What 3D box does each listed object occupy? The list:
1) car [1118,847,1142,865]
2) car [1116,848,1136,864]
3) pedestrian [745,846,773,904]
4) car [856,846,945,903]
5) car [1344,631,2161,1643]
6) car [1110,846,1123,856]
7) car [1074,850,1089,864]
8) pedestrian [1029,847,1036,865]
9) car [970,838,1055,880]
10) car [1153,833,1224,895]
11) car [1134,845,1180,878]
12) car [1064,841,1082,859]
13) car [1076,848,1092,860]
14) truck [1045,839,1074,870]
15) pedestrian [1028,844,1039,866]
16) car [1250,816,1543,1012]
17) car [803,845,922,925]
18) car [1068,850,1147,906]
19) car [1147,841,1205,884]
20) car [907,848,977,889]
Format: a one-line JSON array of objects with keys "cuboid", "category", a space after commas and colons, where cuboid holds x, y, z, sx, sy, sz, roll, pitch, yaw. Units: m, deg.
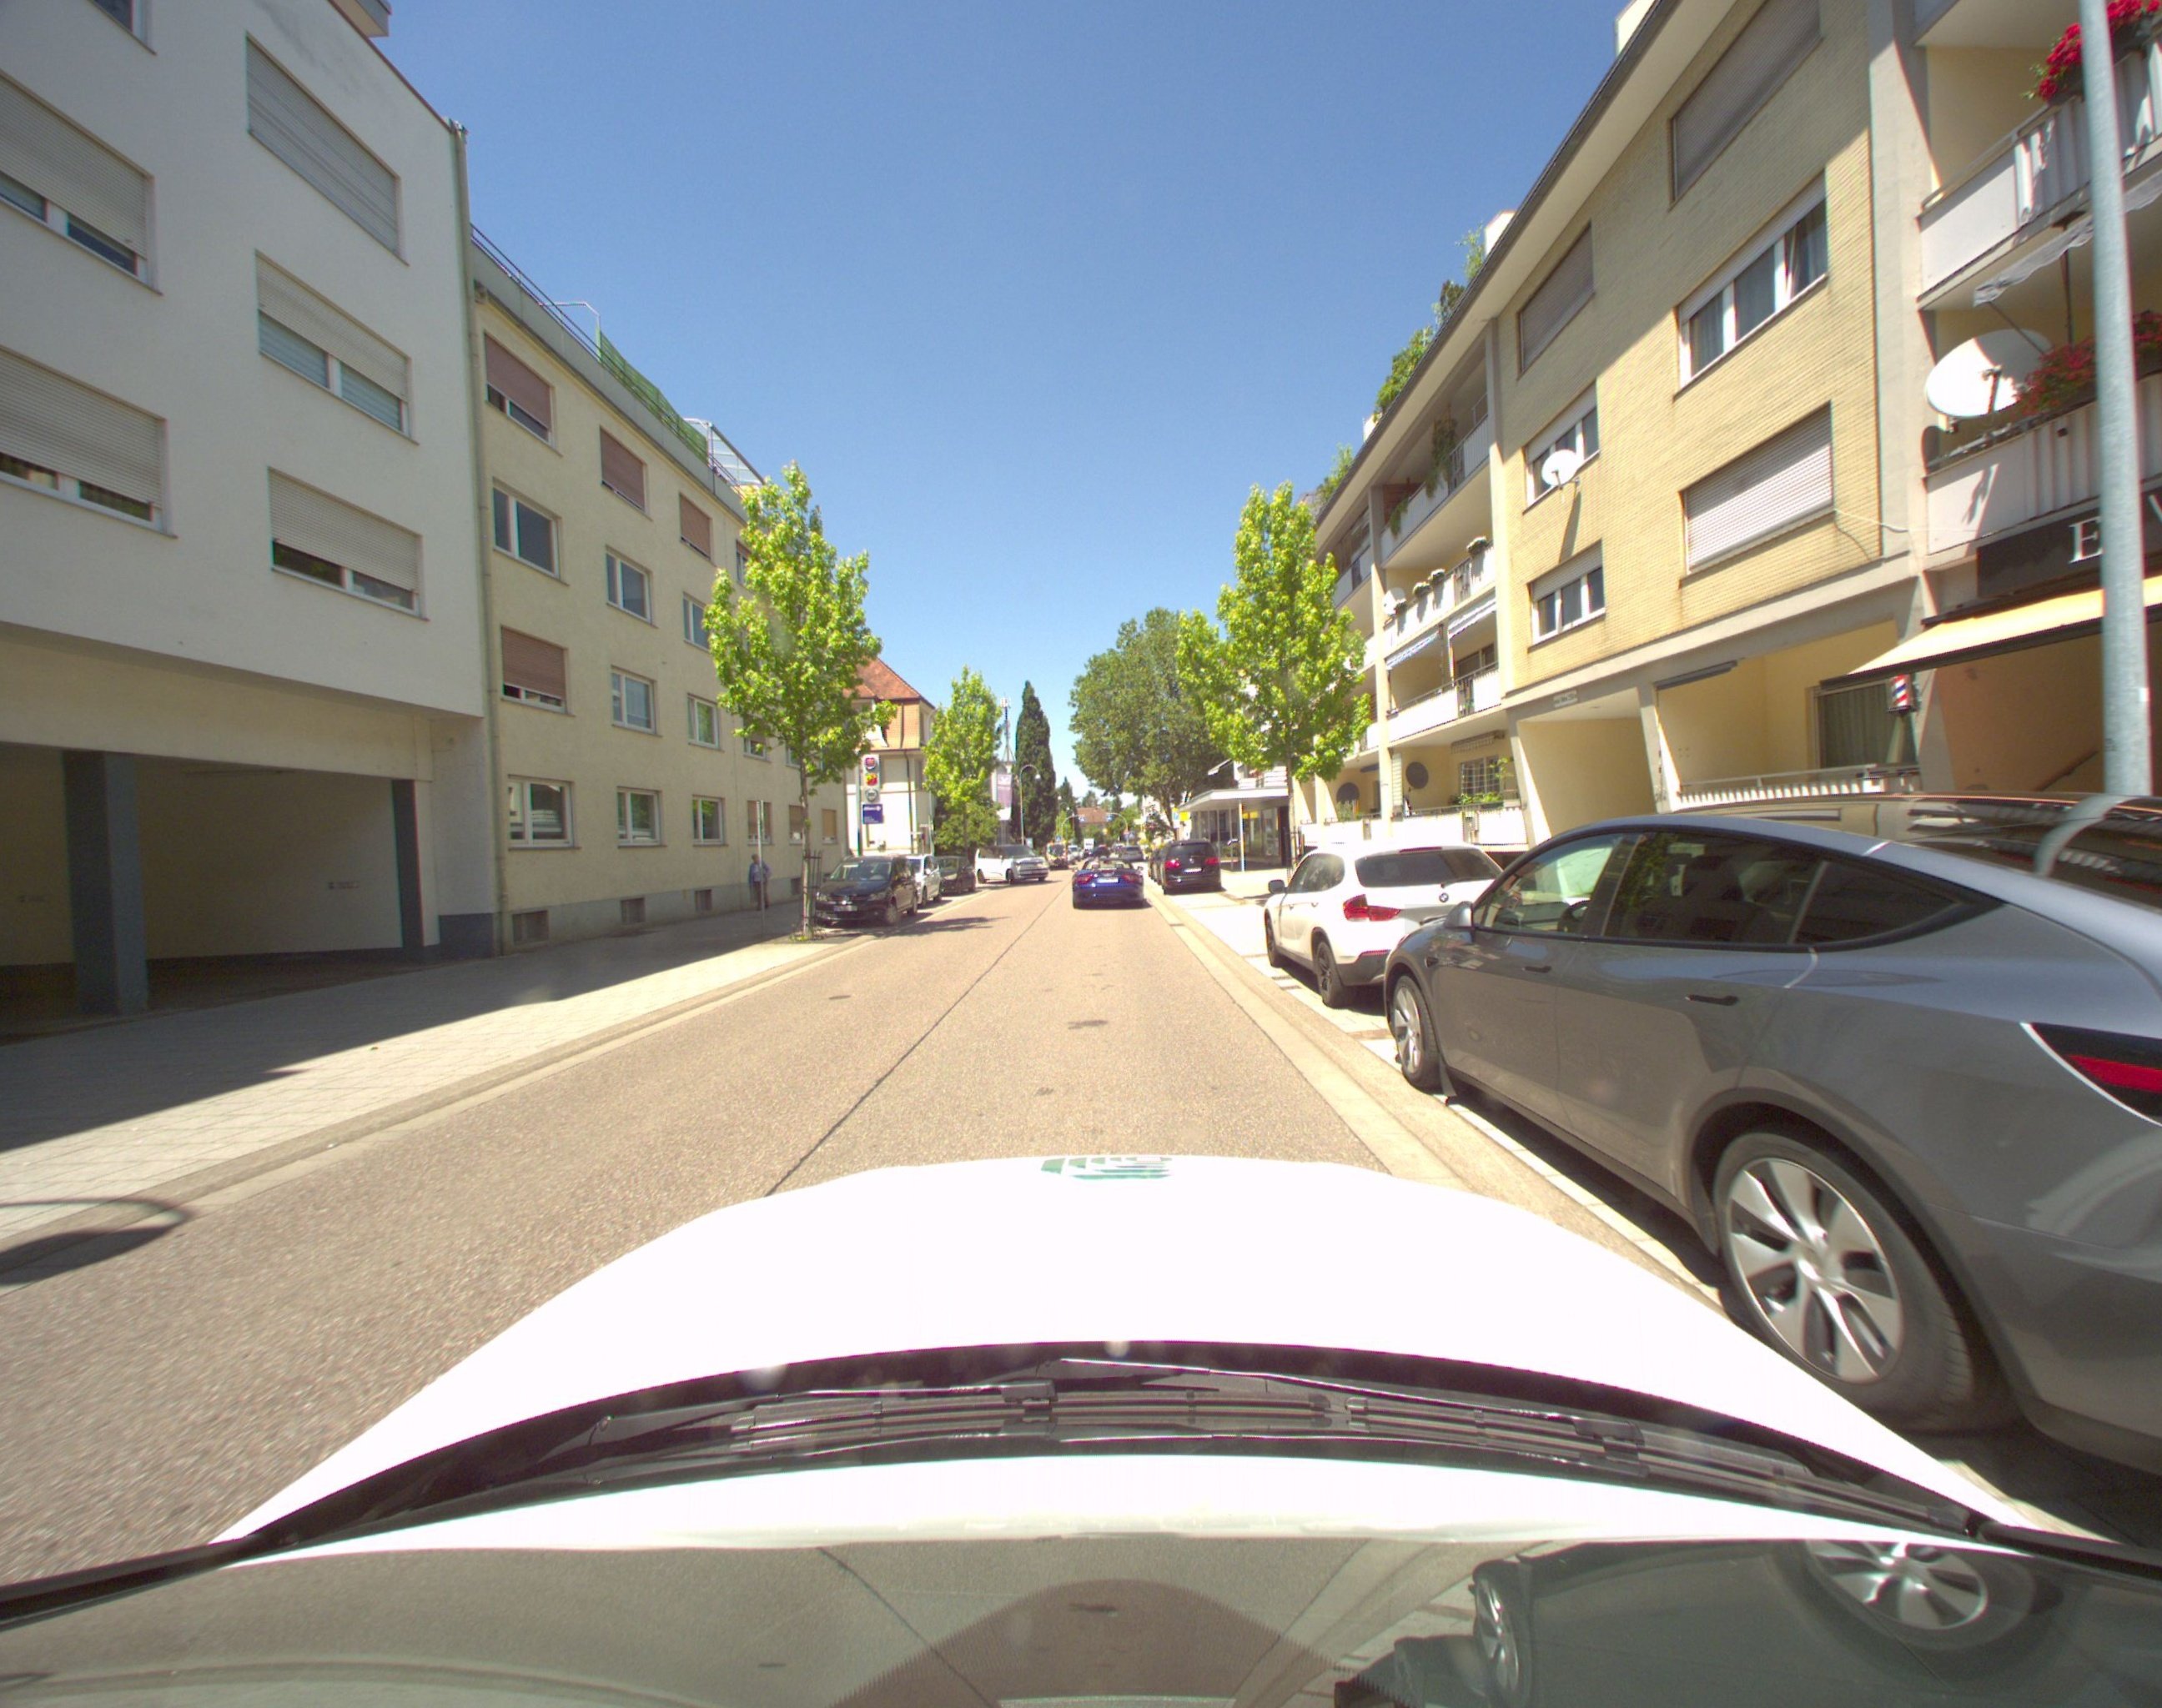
[{"cuboid": [4.429, 0.157, 73.796, 1.969, 1.450, 4.351, -3, 1, 2], "category": "car"}, {"cuboid": [4.712, 0.188, 86.043, 1.969, 1.556, 4.351, -3, 1, 2], "category": "car"}, {"cuboid": [-9.711, 0.613, 24.589, 0.657, 1.680, 0.628, -3, 2, -16], "category": "pedestrian"}, {"cuboid": [-5.584, 0.577, 25.764, 1.818, 1.619, 4.392, 0, 1, 0], "category": "car"}, {"cuboid": [2.749, 0.444, 3.556, 1.757, 1.705, 4.707, -2, 0, 2], "category": "car"}, {"cuboid": [5.715, -0.443, 130.747, 1.944, 1.476, 4.138, -2, 0, 1], "category": "car"}, {"cuboid": [0.095, 0.358, 98.233, 1.763, 1.476, 4.138, -2, 0, 1], "category": "car"}, {"cuboid": [-4.410, 0.155, 73.862, 0.585, 1.574, 0.781, -1, 0, 0], "category": "pedestrian"}, {"cuboid": [-3.480, 0.283, 40.413, 1.922, 1.922, 4.851, -2, 0, -36], "category": "car"}, {"cuboid": [3.503, 0.249, 27.348, 1.985, 1.798, 4.574, -2, 2, 3], "category": "car"}, {"cuboid": [3.511, 0.324, 38.403, 1.838, 1.414, 4.164, -2, 0, 2], "category": "car"}, {"cuboid": [-0.814, -0.479, 87.276, 1.764, 1.767, 4.137, -2, 1, 0], "category": "car"}, {"cuboid": [0.368, -0.005, 103.393, 1.944, 1.476, 4.138, -2, 0, 1], "category": "car"}, {"cuboid": [-1.527, -0.011, 59.924, 1.798, 2.117, 4.716, -2, 1, 1], "category": "truck"}, {"cuboid": [-4.279, 0.077, 73.852, 0.845, 1.915, 0.762, -2, 2, 3], "category": "pedestrian"}, {"cuboid": [3.078, 0.503, 8.937, 1.715, 1.583, 4.228, -2, 0, 3], "category": "car"}, {"cuboid": [-5.283, 0.670, 20.278, 1.723, 1.740, 4.392, 2, 1, 0], "category": "car"}, {"cuboid": [0.668, 0.596, 22.865, 1.970, 1.398, 4.626, 0, 0, 0], "category": "car"}, {"cuboid": [3.787, 0.329, 33.221, 1.887, 1.530, 4.570, -2, 0, 2], "category": "car"}, {"cuboid": [-5.367, 0.508, 31.968, 1.746, 1.474, 4.326, 0, 0, 4], "category": "car"}]
